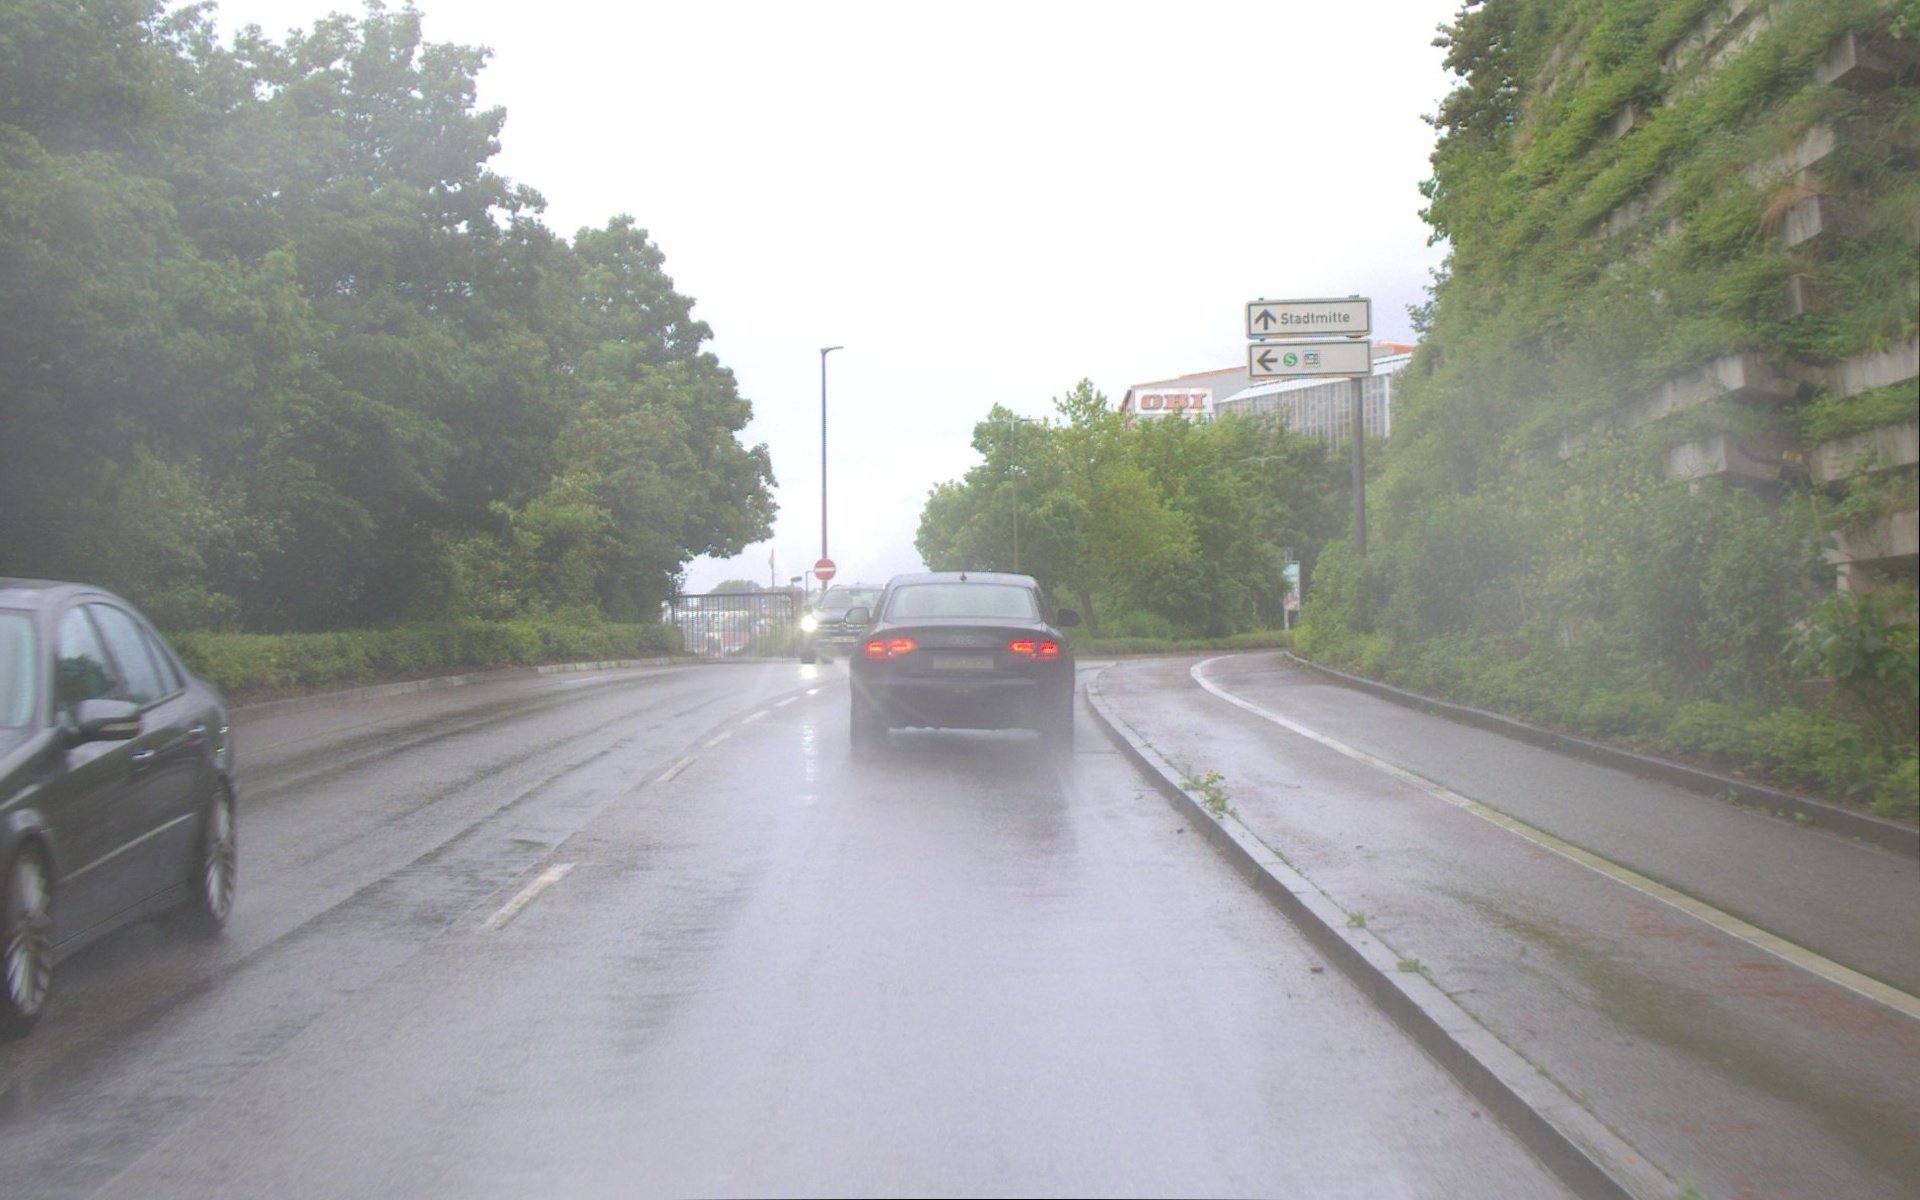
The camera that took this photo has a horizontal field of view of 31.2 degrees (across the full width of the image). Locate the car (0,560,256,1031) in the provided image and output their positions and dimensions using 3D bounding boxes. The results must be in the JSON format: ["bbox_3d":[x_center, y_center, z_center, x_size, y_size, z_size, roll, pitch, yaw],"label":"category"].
[{"bbox_3d":[-3.837,0.549,11.895,1.993,1.359,4.252,0,1,-1],"label":"car"}]

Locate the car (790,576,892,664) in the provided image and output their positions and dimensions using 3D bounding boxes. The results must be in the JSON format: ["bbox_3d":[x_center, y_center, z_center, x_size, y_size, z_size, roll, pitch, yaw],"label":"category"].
[{"bbox_3d":[-2.384,0.370,69.601,1.830,1.700,4.333,0,1,1],"label":"car"}]

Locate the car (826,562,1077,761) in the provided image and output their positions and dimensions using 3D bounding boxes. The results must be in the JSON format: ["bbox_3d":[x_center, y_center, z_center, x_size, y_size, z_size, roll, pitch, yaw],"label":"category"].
[{"bbox_3d":[-0.013,0.440,28.119,1.893,1.487,4.207,0,1,1],"label":"car"}]
